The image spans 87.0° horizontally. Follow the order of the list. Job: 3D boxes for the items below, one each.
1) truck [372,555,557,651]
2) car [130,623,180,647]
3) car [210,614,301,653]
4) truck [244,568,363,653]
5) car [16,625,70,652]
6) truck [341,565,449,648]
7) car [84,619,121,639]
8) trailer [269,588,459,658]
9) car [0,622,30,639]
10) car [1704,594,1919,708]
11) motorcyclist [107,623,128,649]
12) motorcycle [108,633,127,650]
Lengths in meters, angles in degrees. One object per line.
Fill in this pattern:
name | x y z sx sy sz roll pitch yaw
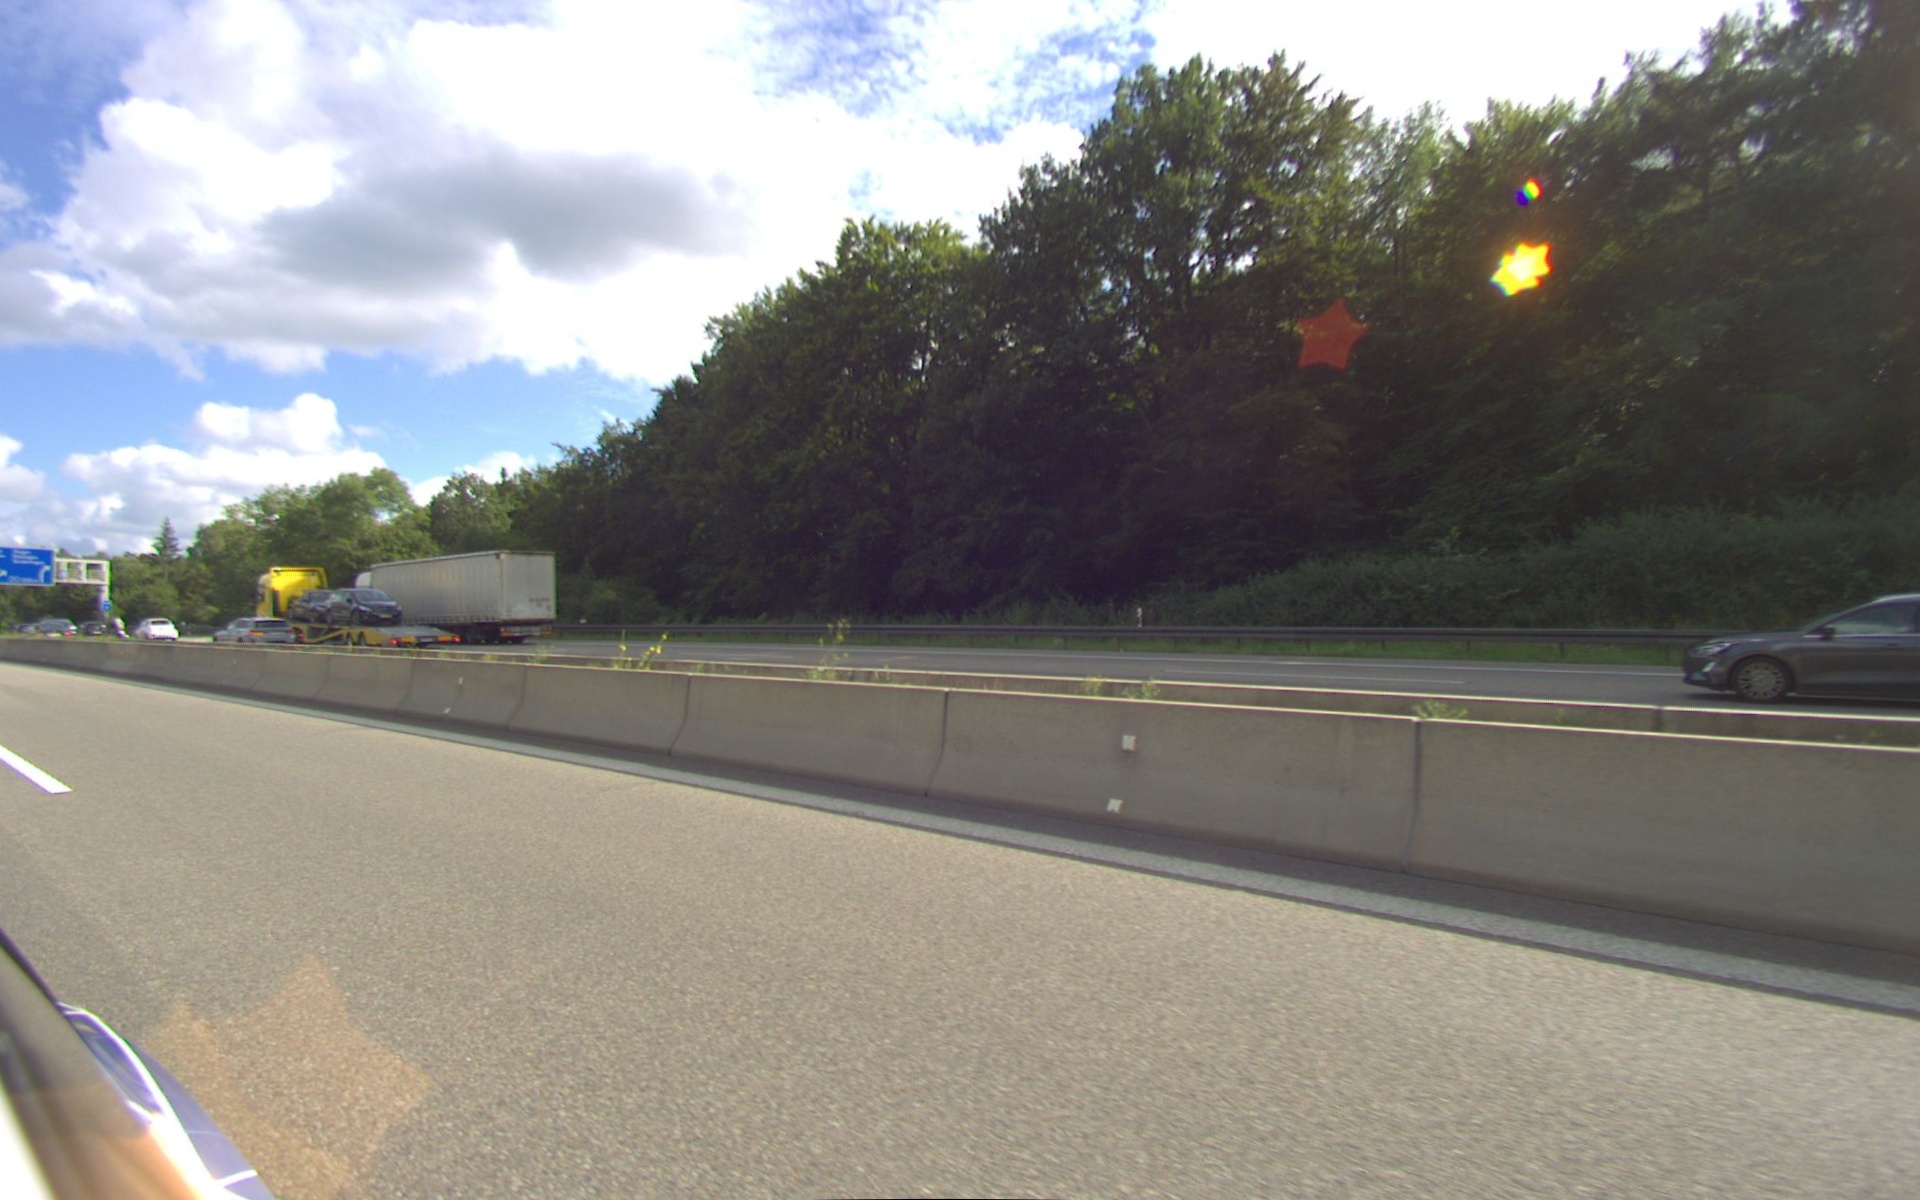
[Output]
truck | -23.912 0.243 48.287 13.073 4.099 2.680 -1 -1 39
car | -52.976 2.303 66.550 4.126 1.509 1.829 -1 0 41
car | -29.170 1.343 41.861 4.981 1.497 1.973 -1 -1 41
truck | -31.698 0.530 48.791 7.126 3.839 2.749 -1 -1 39
car | -48.275 1.993 53.245 4.196 1.317 1.666 -1 -1 41
truck | -29.599 0.368 52.895 6.590 4.099 2.680 -1 -1 39
car | -77.046 2.605 90.901 4.196 1.700 1.973 -1 -1 41
trailer | -26.582 1.001 44.646 13.297 2.740 2.749 -1 -1 39
car | -102.884 3.331 109.815 4.663 1.752 2.052 -1 -1 37
car | 12.611 0.620 12.936 4.931 1.400 1.795 -1 -1 39
motorcyclist | -48.837 2.096 58.634 1.074 1.487 0.747 -2 -1 39
motorcycle | -48.836 2.381 58.652 2.249 0.963 0.477 -2 -1 40
